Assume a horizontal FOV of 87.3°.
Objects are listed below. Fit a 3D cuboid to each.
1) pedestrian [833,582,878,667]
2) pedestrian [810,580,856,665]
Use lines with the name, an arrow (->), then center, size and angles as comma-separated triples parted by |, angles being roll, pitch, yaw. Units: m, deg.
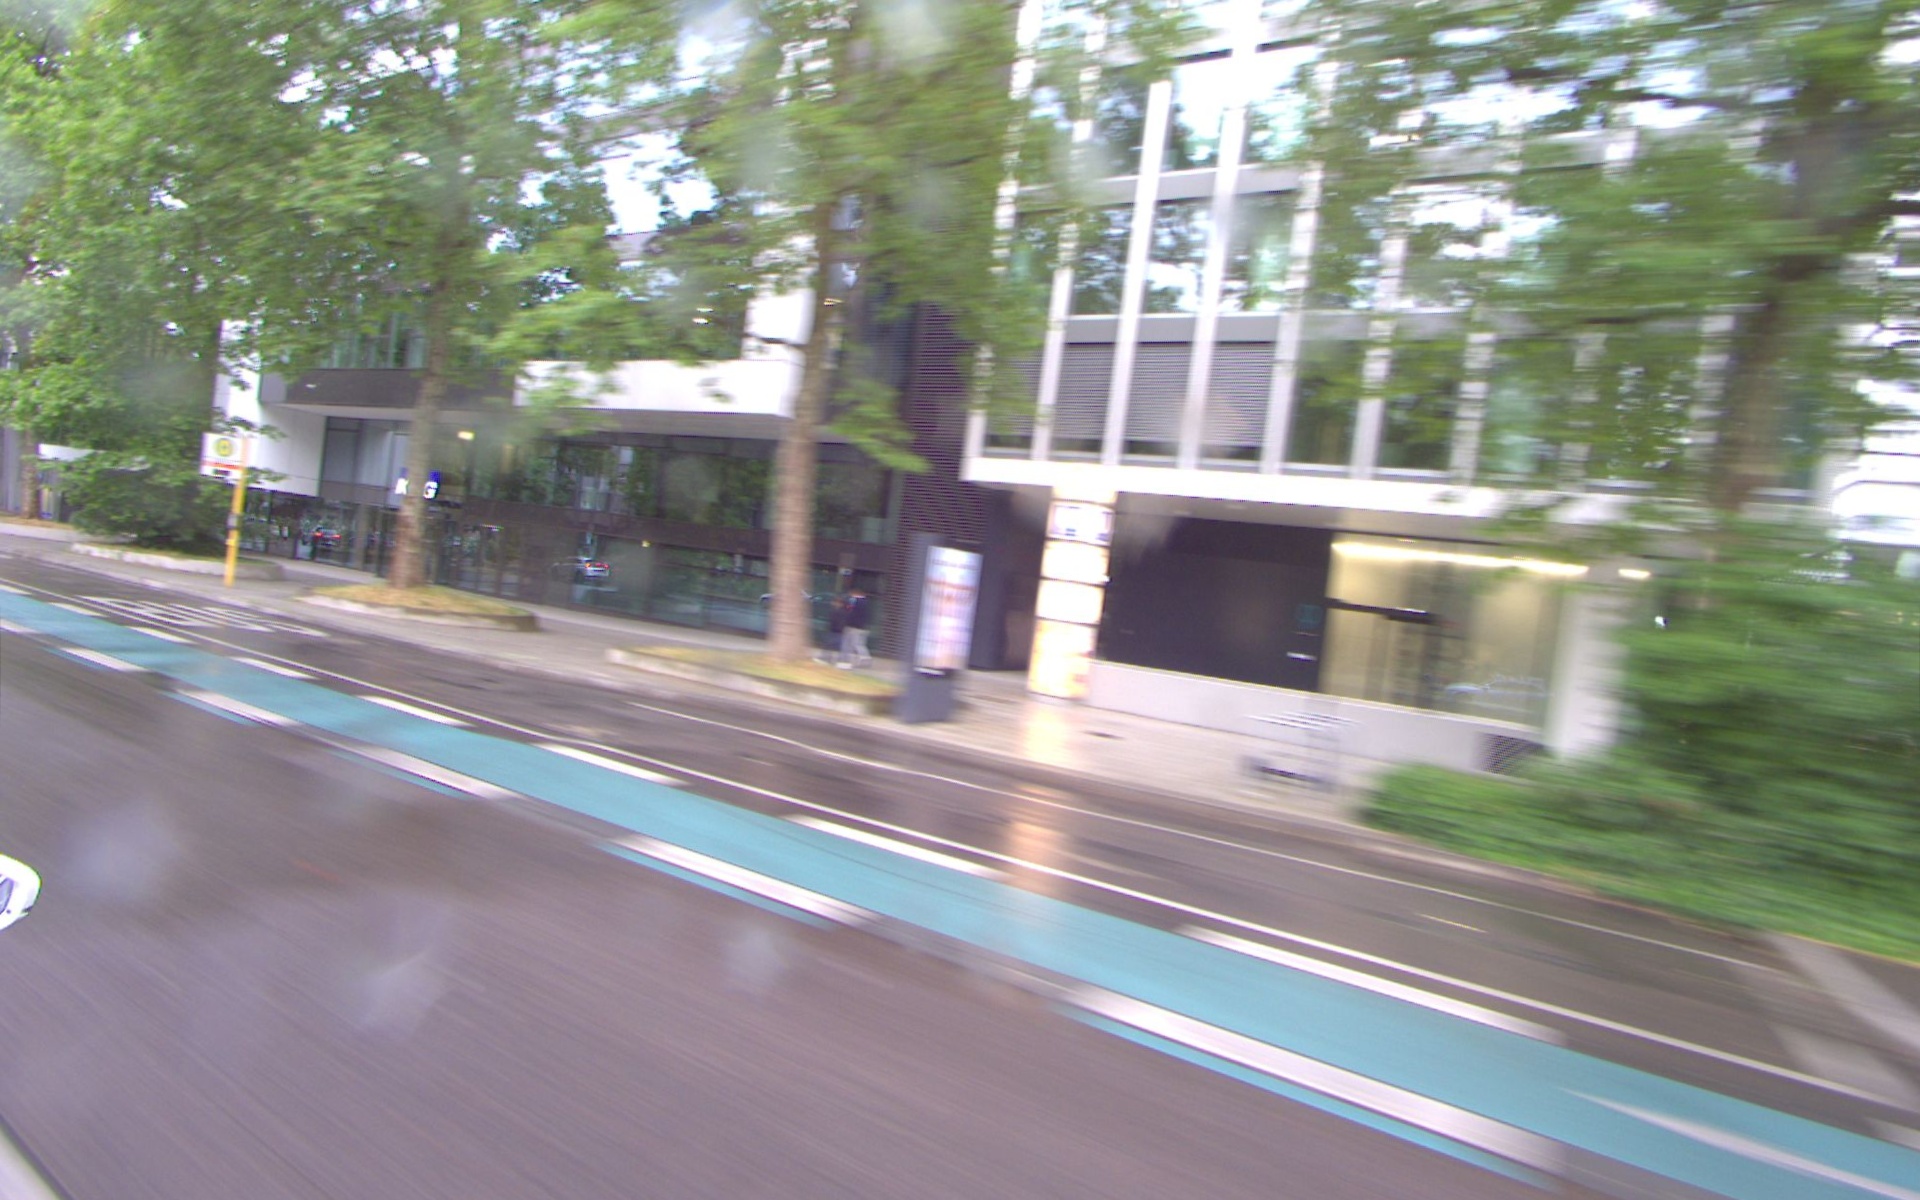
pedestrian -> -2.429, 0.575, 23.436 | 0.597, 1.877, 0.563 | 7, 0, 29
pedestrian -> -2.848, 0.517, 22.618 | 0.597, 1.816, 0.563 | 7, 0, 29
